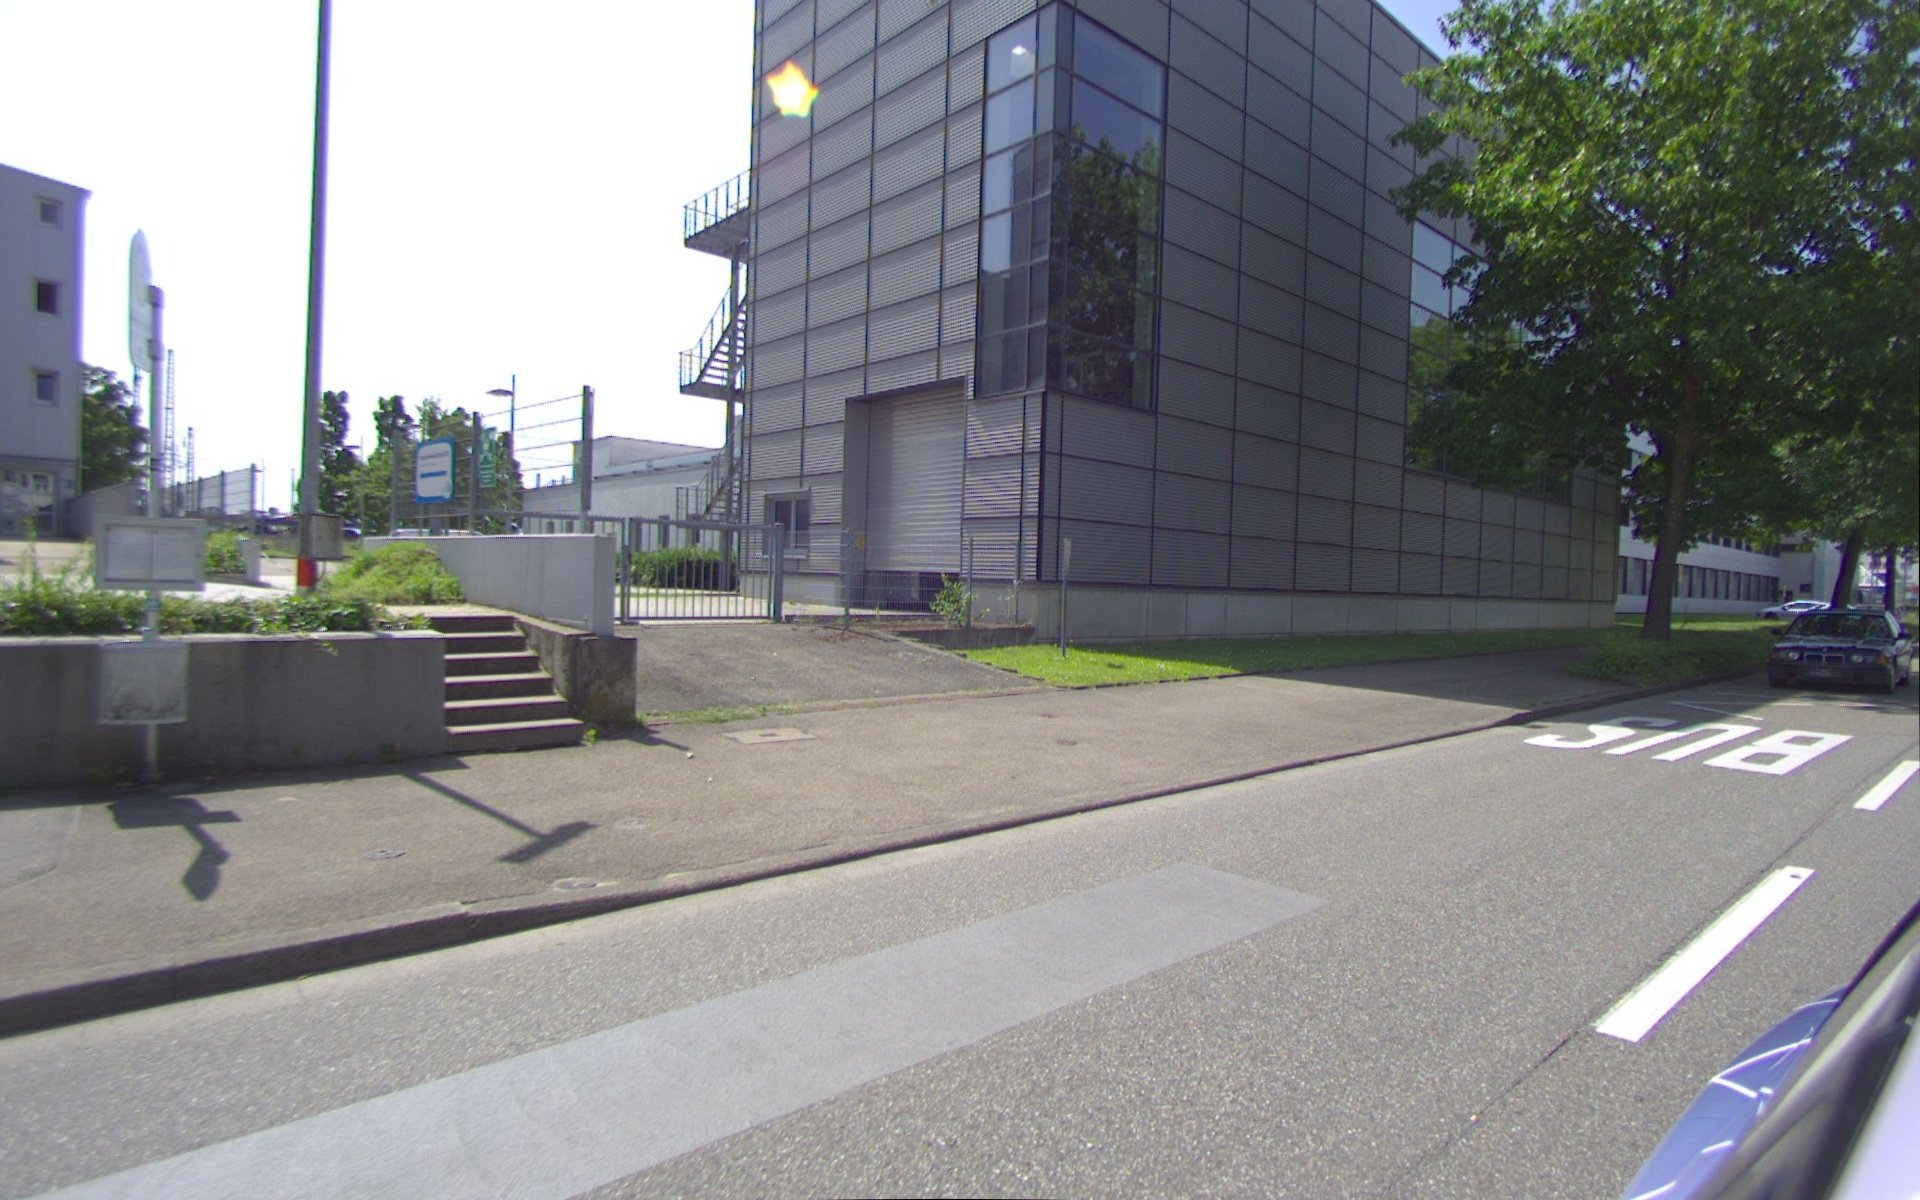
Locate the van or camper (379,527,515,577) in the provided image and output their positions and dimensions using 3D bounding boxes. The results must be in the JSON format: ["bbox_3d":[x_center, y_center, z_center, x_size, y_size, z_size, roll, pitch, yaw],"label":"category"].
[{"bbox_3d":[-20.355,-1.874,40.240,4.458,1.816,1.997,0,3,-42],"label":"van or camper"}]

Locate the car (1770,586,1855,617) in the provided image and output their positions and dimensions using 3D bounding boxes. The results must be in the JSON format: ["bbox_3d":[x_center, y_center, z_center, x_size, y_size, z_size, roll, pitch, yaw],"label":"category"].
[{"bbox_3d":[52.931,0.089,62.868,1.704,1.611,3.817,1,4,-45],"label":"car"}]

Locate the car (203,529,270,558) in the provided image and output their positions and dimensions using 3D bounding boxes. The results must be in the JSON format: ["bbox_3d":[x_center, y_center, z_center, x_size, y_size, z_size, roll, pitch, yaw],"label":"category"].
[{"bbox_3d":[-57.224,-4.448,80.079,4.059,2.001,1.996,1,-1,-42],"label":"car"}]

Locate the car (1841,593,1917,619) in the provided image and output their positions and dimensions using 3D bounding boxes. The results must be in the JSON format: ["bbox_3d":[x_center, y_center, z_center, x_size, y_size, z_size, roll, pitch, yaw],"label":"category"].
[{"bbox_3d":[71.441,0.437,78.701,1.968,1.710,4.262,0,3,-45],"label":"car"}]

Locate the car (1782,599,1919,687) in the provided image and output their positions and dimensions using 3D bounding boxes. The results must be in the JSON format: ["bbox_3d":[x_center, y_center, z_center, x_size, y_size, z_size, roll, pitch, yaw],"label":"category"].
[{"bbox_3d":[15.812,0.711,17.811,3.693,1.356,1.629,1,0,-44],"label":"car"}]

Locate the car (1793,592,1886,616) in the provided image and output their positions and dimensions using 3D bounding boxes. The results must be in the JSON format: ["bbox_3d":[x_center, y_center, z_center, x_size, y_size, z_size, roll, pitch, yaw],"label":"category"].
[{"bbox_3d":[59.340,0.246,68.359,4.615,1.407,1.968,4,3,44],"label":"car"}]
